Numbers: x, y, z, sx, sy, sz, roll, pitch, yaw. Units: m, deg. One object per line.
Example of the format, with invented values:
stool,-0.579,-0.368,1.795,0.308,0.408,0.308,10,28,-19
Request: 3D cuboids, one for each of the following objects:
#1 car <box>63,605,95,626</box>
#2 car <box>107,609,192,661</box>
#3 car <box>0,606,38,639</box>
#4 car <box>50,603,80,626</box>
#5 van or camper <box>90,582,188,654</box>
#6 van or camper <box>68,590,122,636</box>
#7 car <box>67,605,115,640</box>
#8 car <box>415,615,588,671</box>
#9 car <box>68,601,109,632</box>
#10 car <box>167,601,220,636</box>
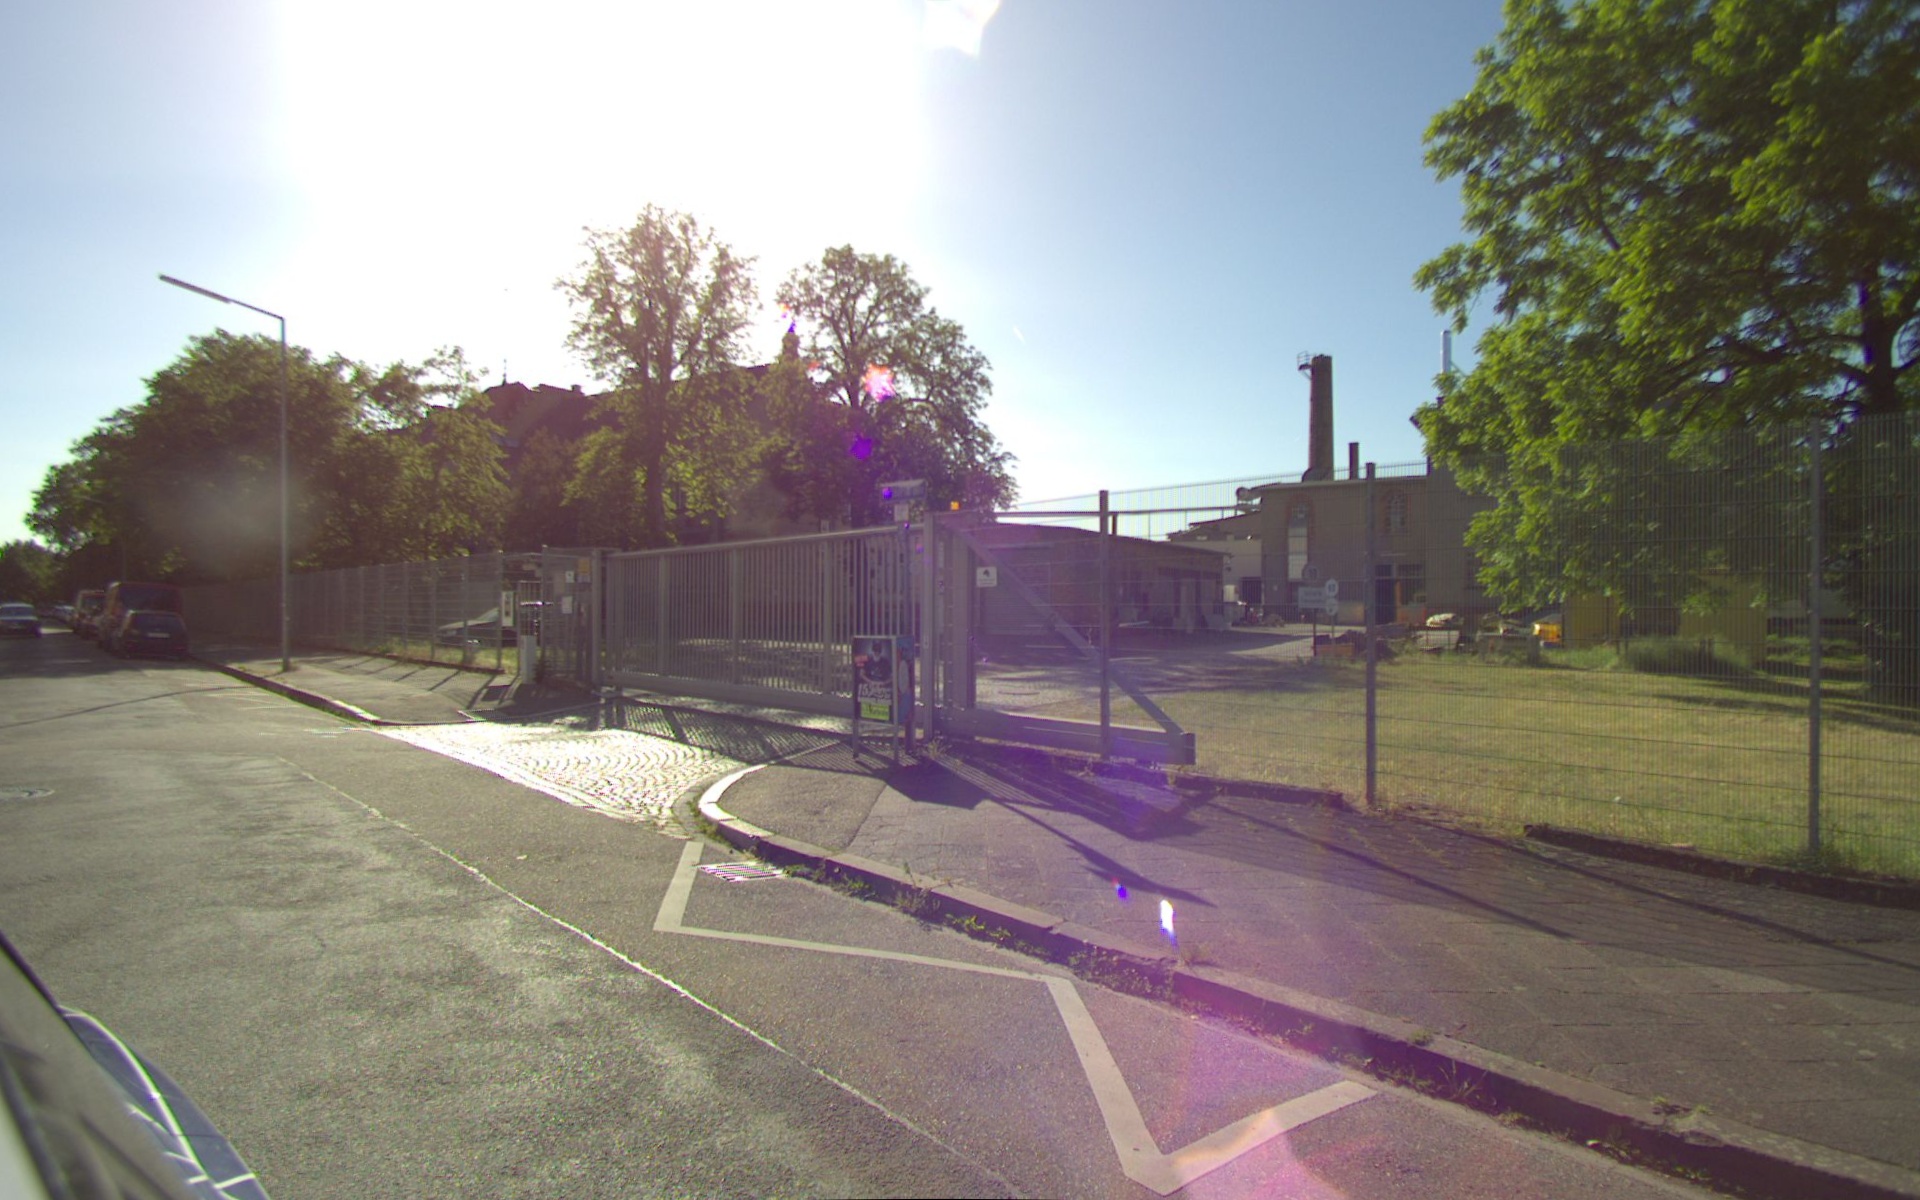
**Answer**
car,-76.976,1.370,88.432,1.970,1.762,4.004,1,-1,-43
car,-24.678,1.009,30.775,1.628,1.427,4.003,0,0,-44
car,-46.720,1.079,49.802,1.835,1.563,4.003,1,-1,-44
car,-83.311,1.349,94.181,1.970,2.029,4.004,1,-1,-43
van or camper,-28.610,0.578,35.190,2.180,2.298,5.314,0,0,-44
van or camper,-49.744,0.741,58.190,2.096,2.518,4.003,1,-1,-44
car,-45.261,1.140,52.700,1.628,1.696,4.003,1,-1,-44
car,-12.682,1.129,28.128,3.941,1.431,2.001,1,-1,-44
car,-59.934,1.116,69.604,1.970,2.029,4.004,1,-1,-43
car,-38.888,0.916,51.328,1.628,1.696,4.003,1,-1,-44
